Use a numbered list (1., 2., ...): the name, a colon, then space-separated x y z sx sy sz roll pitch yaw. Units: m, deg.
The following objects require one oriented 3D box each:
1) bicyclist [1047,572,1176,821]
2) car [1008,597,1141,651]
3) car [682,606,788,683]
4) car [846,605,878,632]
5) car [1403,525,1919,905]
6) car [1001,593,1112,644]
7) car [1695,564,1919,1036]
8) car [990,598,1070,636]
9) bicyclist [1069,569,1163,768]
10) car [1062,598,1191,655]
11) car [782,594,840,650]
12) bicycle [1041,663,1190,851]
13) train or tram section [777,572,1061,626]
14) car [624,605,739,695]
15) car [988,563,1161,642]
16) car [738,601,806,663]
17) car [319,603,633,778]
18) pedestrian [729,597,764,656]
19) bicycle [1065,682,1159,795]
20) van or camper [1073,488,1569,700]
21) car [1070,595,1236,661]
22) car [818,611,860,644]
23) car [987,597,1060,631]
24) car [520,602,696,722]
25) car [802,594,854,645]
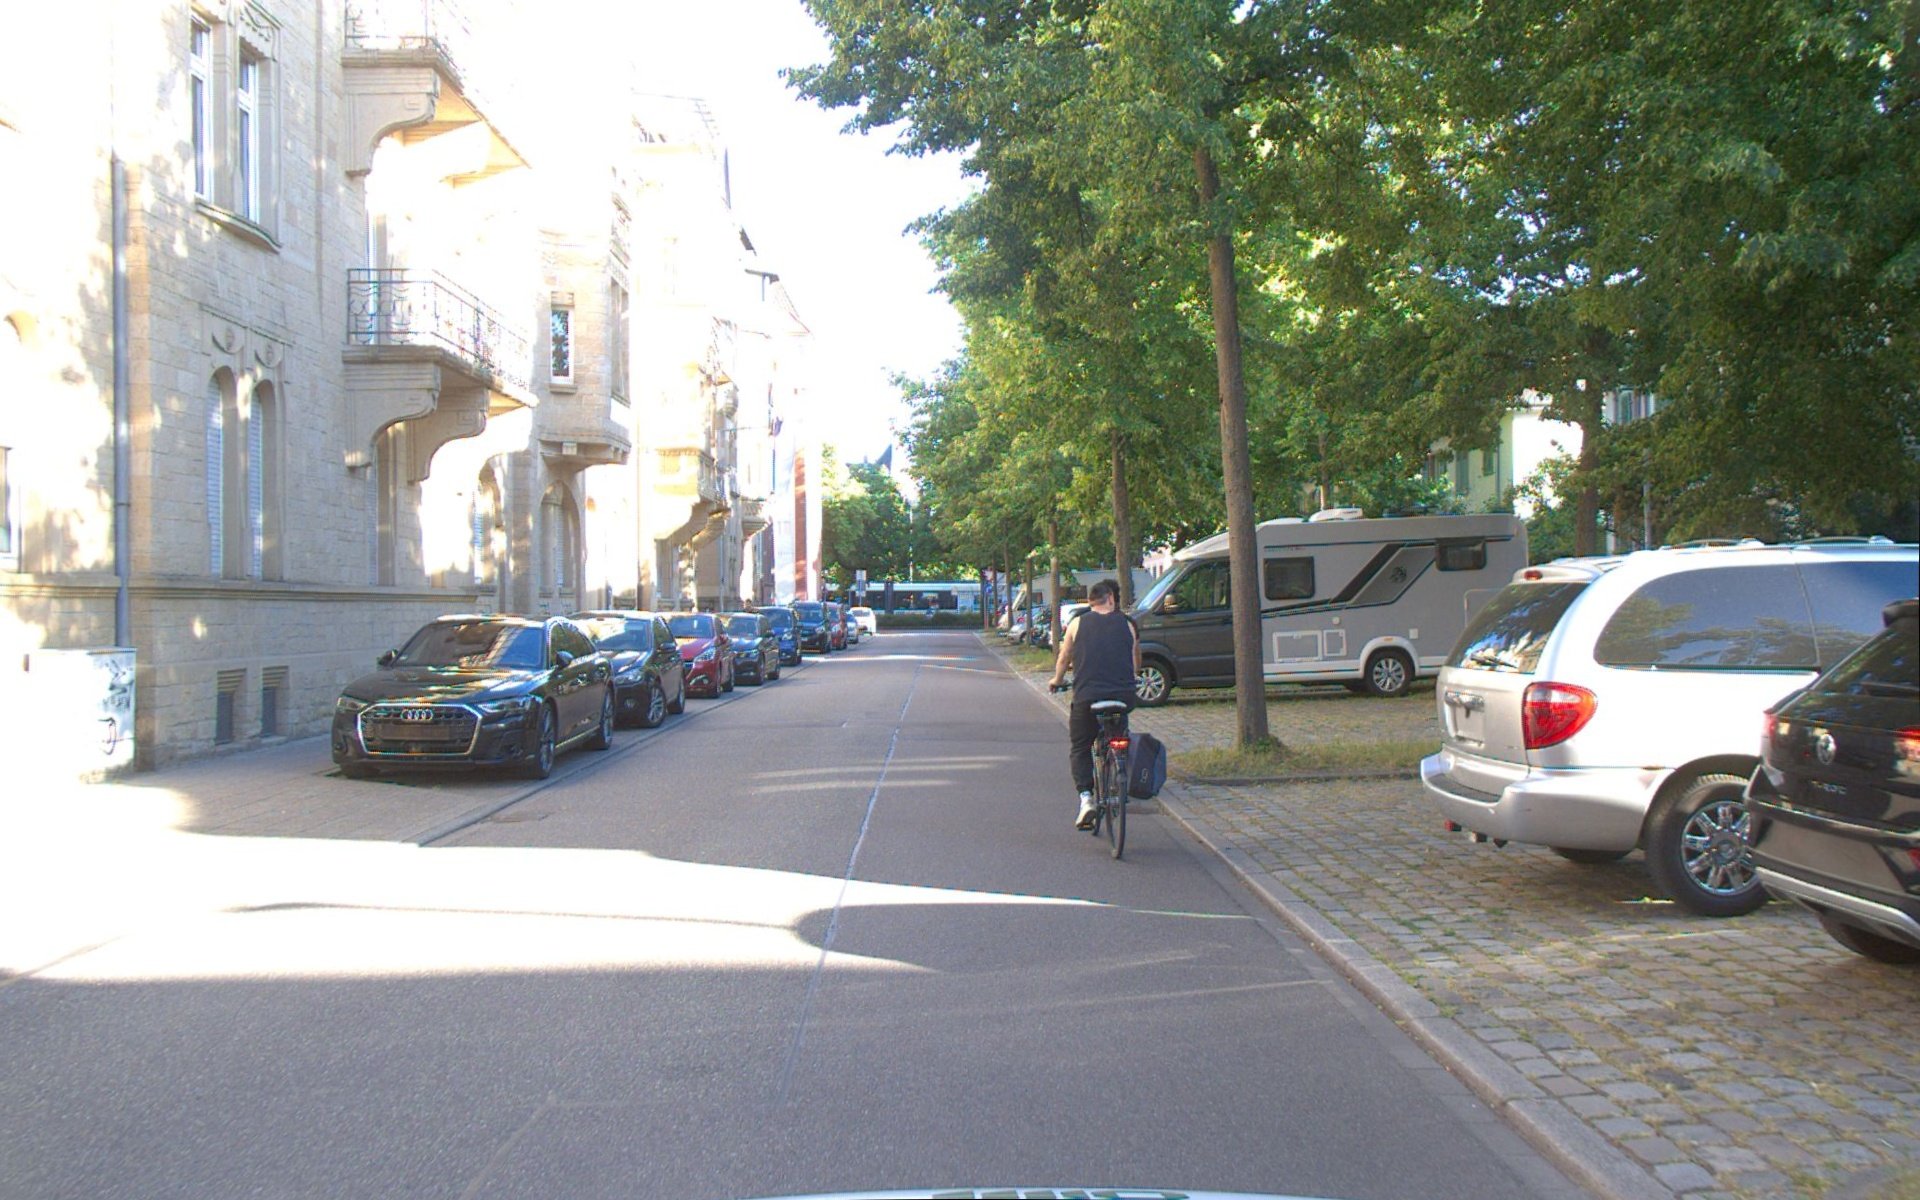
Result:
1. bicyclist: 0.999 0.627 11.056 0.715 1.575 0.884 2 -1 -2
2. car: 3.556 0.761 51.852 4.053 1.628 1.702 -1 -2 1
3. car: -4.796 0.908 35.827 1.641 1.455 4.550 2 0 0
4. car: -5.519 1.056 93.528 1.551 1.399 4.131 2 0 0
5. car: 4.889 0.501 8.810 4.524 1.739 1.833 -2 0 0
6. car: 3.657 0.712 62.878 4.001 1.678 1.640 -3 -1 -3
7. car: 5.090 0.549 6.066 3.985 1.502 1.694 -3 1 0
8. car: 3.556 0.871 84.690 3.907 1.835 1.833 1 -1 -3
9. bicyclist: 1.337 0.573 14.315 0.675 1.655 0.998 1 -1 -1
10. car: 4.939 0.803 49.443 3.695 1.628 1.691 -1 -2 1
11. car: -5.182 0.733 57.931 1.607 1.814 4.354 2 0 0
12. bicycle: 0.992 0.986 10.987 0.722 1.072 1.955 2 -1 -2
13. train or tram section: -3.115 0.044 135.981 23.483 3.773 4.255 2 -1 -23
14. car: -4.952 0.848 29.794 1.596 1.479 3.835 1 0 -3
15. car: 4.814 0.111 70.324 7.005 3.030 2.462 -2 0 -4
16. car: -5.064 0.848 44.830 1.564 1.515 2.735 3 0 -2
17. car: -4.686 0.809 16.811 1.774 1.451 4.896 2 -1 -1
18. pedestrian: -6.514 0.798 50.512 0.919 1.773 0.735 1 -1 -1
19. bicycle: 1.294 1.172 14.377 0.620 0.813 1.832 -1 0 -1
20. van or camper: 5.366 -0.090 25.484 7.000 2.693 2.465 -3 0 1
21. car: 4.970 0.742 43.002 4.136 1.628 1.691 -1 -2 1
22. car: -5.540 1.257 76.081 1.551 1.367 4.131 2 0 0
23. car: 3.525 0.790 92.578 3.907 1.835 1.833 1 -1 -3
24. car: -4.680 0.799 22.524 1.662 1.479 4.026 0 -1 -2
25. car: -5.141 0.738 64.948 1.654 1.857 4.272 2 0 0
